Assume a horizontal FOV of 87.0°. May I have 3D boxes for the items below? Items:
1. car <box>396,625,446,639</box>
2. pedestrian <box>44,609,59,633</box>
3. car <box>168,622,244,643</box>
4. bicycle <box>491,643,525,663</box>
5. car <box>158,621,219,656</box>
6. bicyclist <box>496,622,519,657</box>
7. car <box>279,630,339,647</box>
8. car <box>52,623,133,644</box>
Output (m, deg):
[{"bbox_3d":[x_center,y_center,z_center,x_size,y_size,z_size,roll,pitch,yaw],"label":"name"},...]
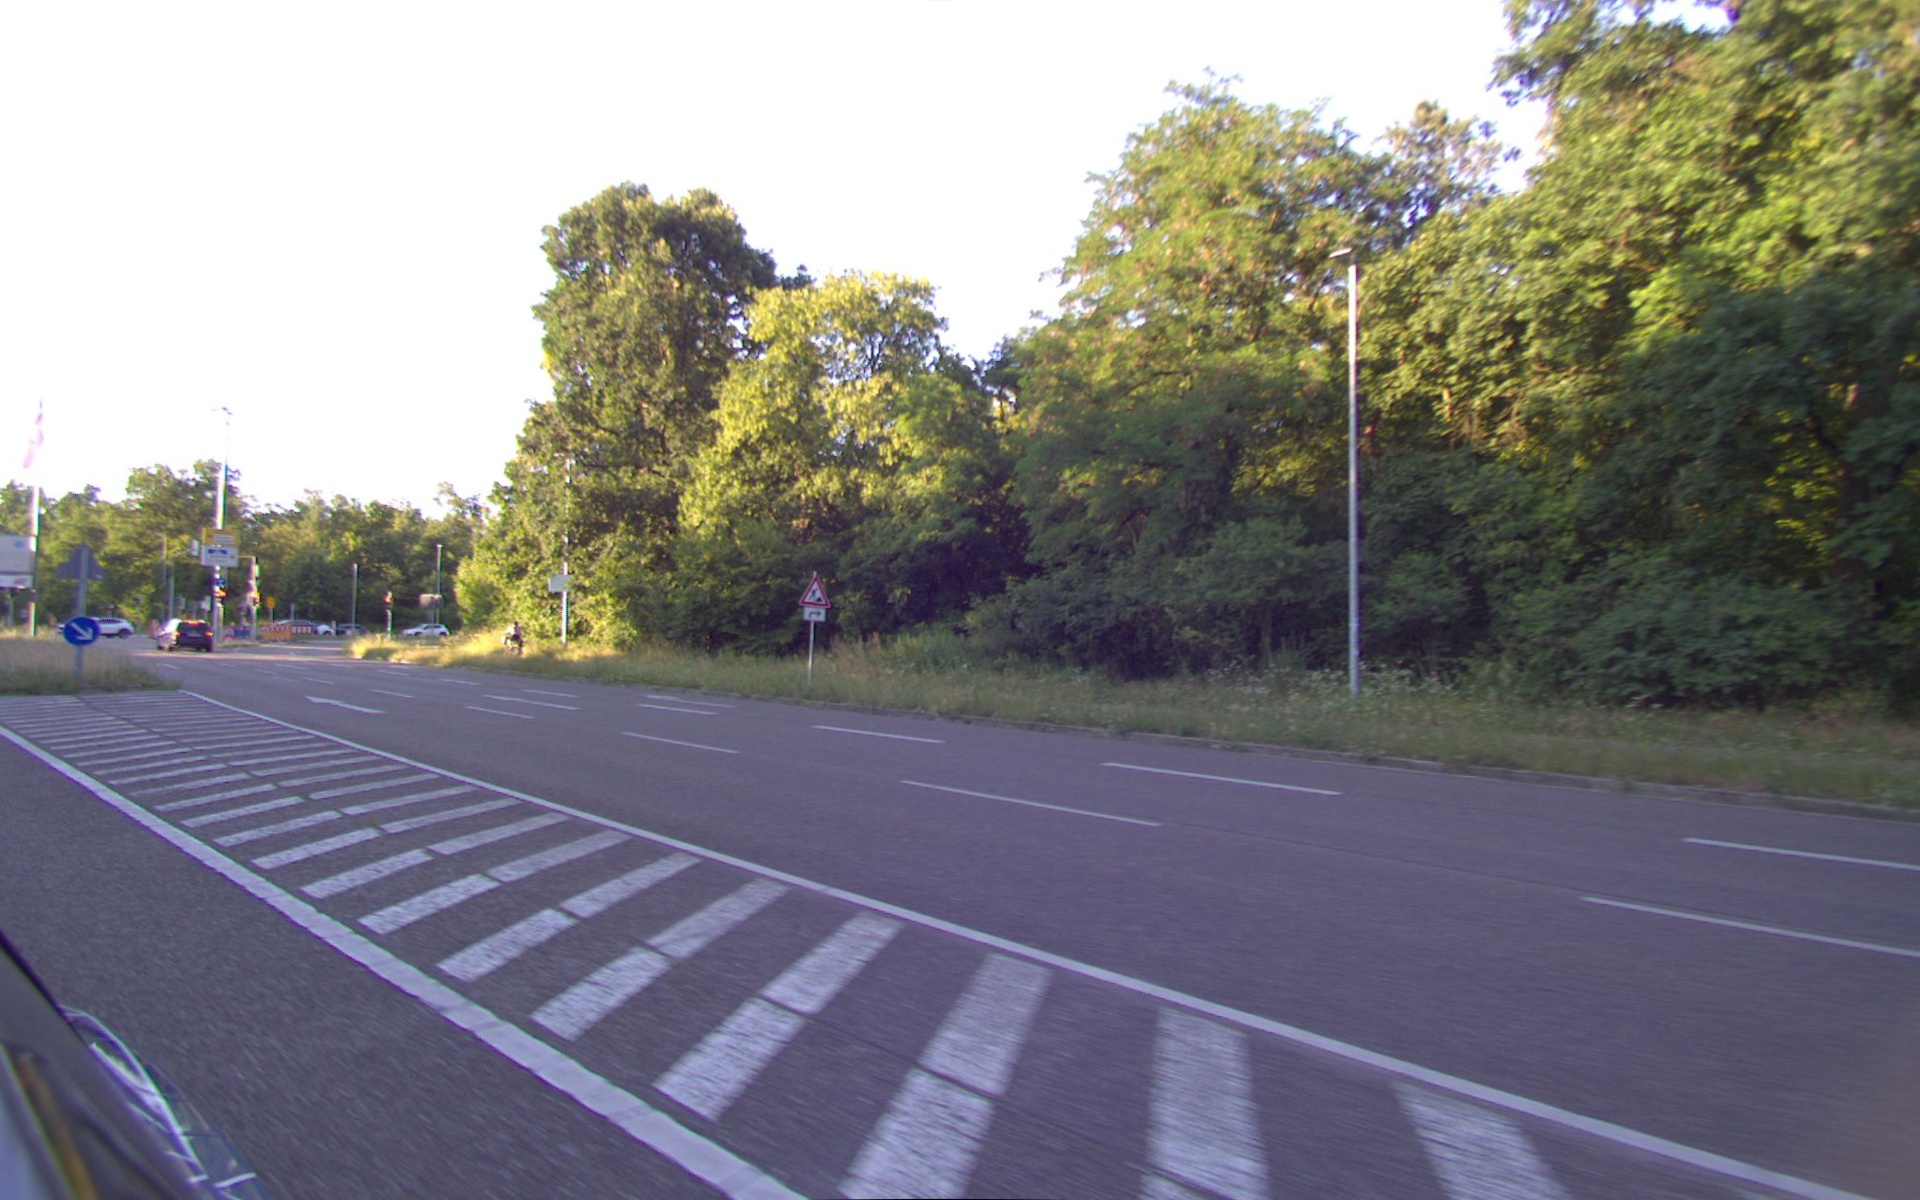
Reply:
[{"bbox_3d":[-54.986,3.259,103.240,1.716,1.467,4.186,-1,-2,32],"label":"car"},{"bbox_3d":[-69.237,1.568,77.121,0.737,1.814,0.577,1,-2,-35],"label":"pedestrian"},{"bbox_3d":[-55.585,2.398,74.716,1.712,1.467,4.197,0,-2,25],"label":"car"},{"bbox_3d":[-19.022,2.214,42.591,1.959,0.810,0.579,-1,-3,44],"label":"bicycle"},{"bbox_3d":[-36.931,1.813,48.386,1.798,1.545,4.459,5,-4,-43],"label":"car"},{"bbox_3d":[-18.997,1.656,42.472,0.822,1.440,0.579,-1,-3,44],"label":"bicyclist"},{"bbox_3d":[-57.129,3.381,88.851,1.712,1.467,4.197,0,-2,25],"label":"car"},{"bbox_3d":[-63.443,2.464,74.082,1.712,1.467,4.197,0,-2,25],"label":"car"}]
